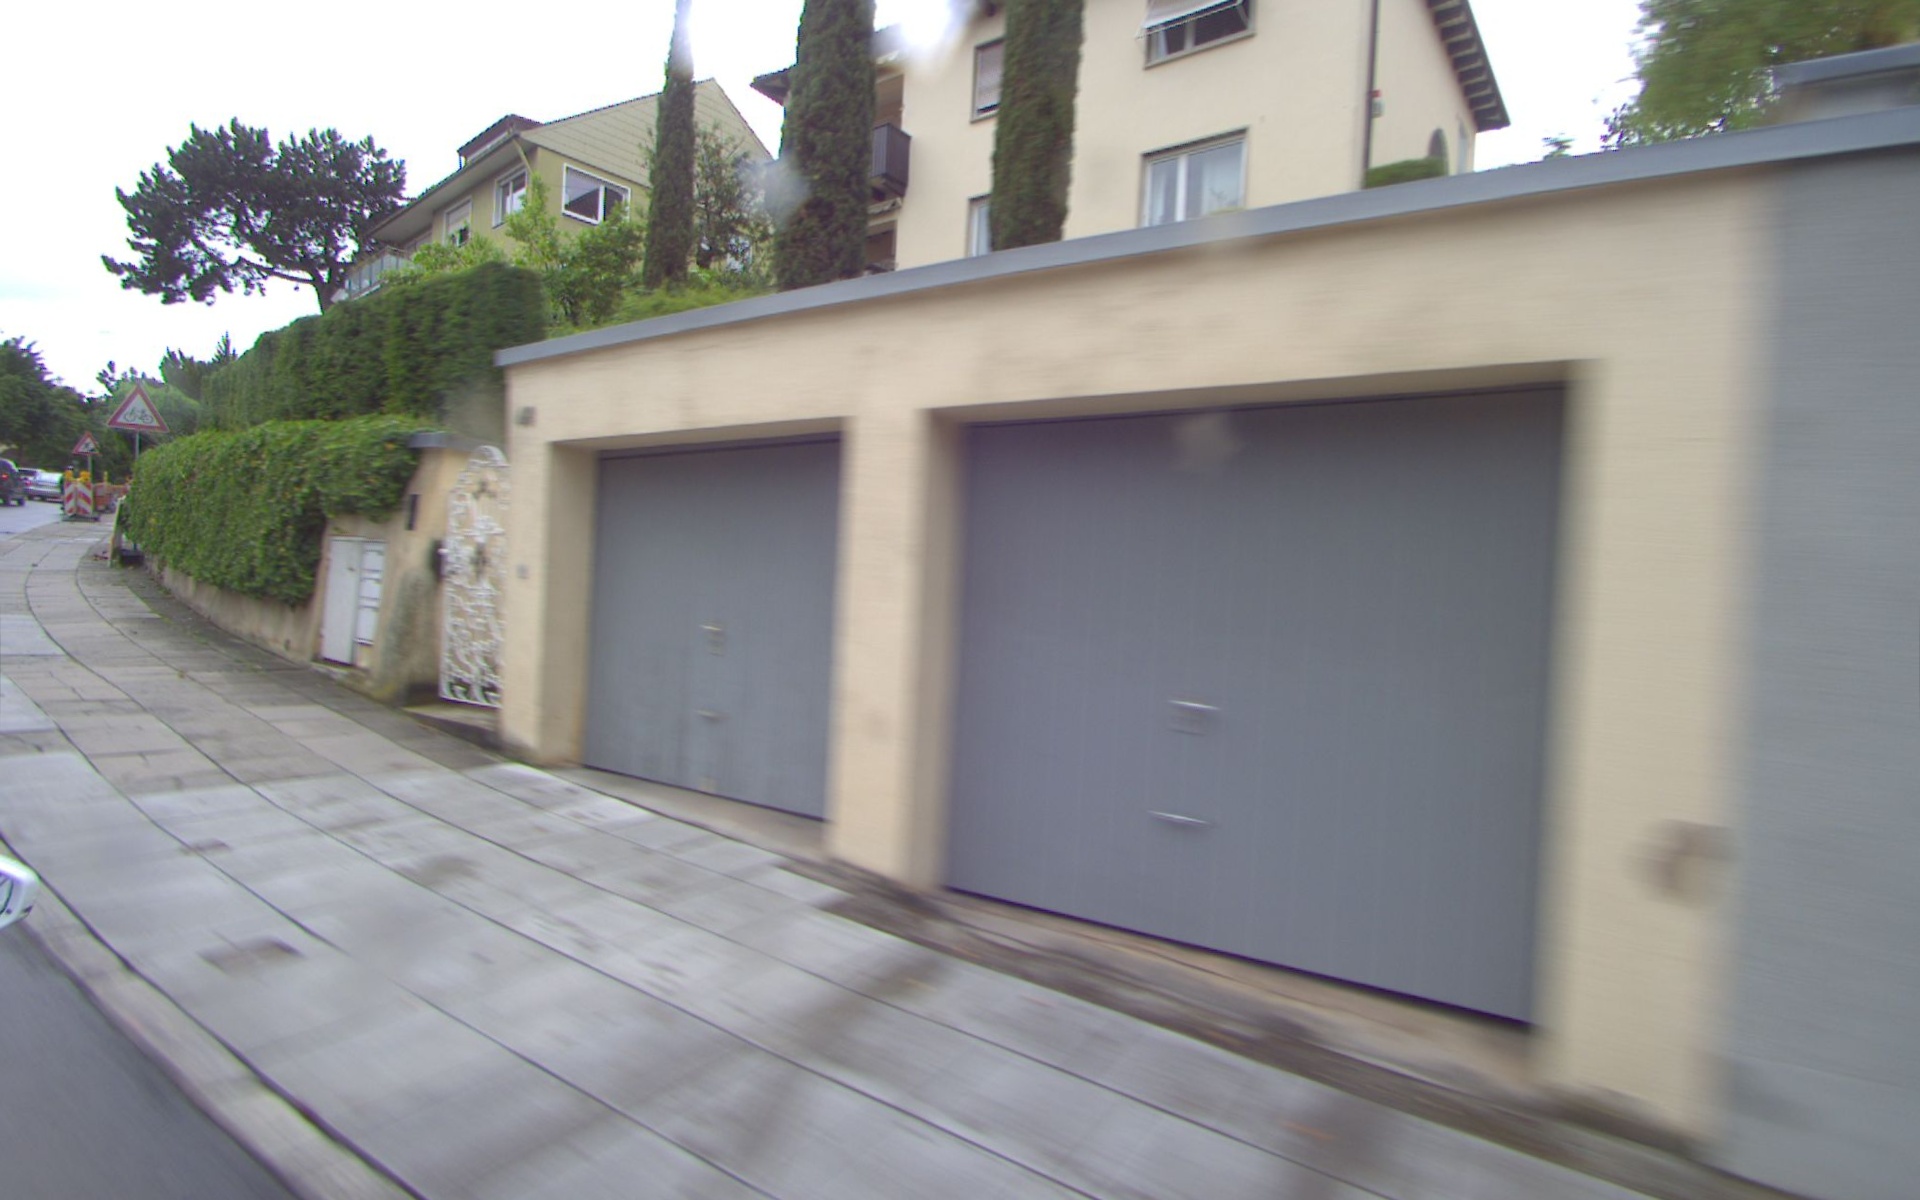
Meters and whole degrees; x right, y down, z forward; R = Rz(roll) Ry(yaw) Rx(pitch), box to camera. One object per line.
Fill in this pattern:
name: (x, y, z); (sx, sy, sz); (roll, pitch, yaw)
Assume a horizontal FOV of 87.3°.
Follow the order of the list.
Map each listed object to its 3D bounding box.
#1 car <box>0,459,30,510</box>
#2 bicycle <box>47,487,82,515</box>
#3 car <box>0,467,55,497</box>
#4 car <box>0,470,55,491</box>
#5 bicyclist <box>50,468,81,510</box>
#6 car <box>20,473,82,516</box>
car: (-38.644, -4.698, 40.080); (1.723, 1.792, 4.190); (6, 3, -36)
bicycle: (-34.441, -3.802, 38.714); (0.725, 0.977, 1.655); (5, 2, -34)
car: (-61.211, -7.736, 66.032); (1.752, 1.649, 4.652); (2, 3, -30)
car: (-82.503, -10.593, 89.069); (3.178, 1.768, 1.467); (-3, 8, -30)
bicyclist: (-34.419, -4.277, 38.732); (0.720, 1.492, 0.877); (4, 3, -34)
car: (-45.979, -5.384, 50.959); (1.723, 1.792, 4.190); (6, 3, -36)
